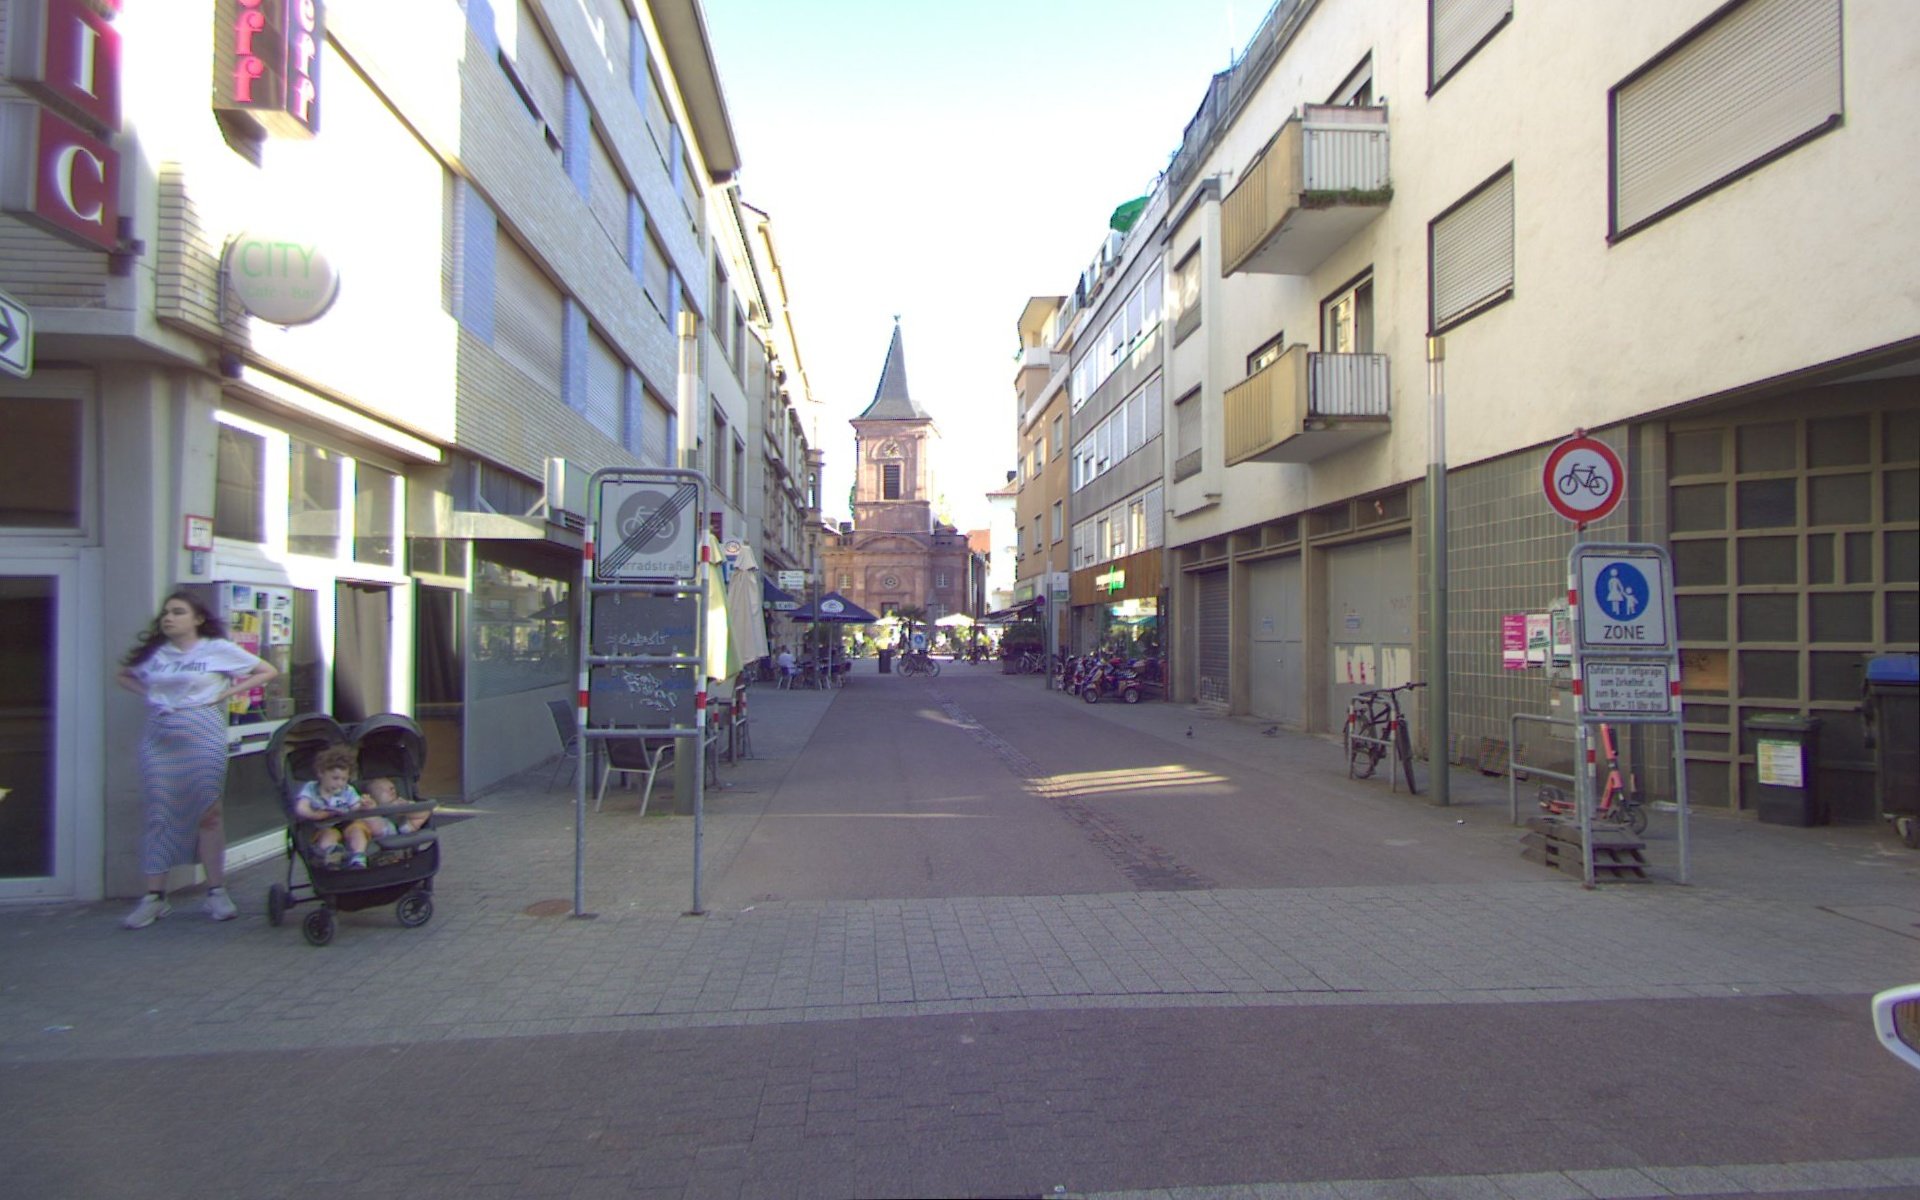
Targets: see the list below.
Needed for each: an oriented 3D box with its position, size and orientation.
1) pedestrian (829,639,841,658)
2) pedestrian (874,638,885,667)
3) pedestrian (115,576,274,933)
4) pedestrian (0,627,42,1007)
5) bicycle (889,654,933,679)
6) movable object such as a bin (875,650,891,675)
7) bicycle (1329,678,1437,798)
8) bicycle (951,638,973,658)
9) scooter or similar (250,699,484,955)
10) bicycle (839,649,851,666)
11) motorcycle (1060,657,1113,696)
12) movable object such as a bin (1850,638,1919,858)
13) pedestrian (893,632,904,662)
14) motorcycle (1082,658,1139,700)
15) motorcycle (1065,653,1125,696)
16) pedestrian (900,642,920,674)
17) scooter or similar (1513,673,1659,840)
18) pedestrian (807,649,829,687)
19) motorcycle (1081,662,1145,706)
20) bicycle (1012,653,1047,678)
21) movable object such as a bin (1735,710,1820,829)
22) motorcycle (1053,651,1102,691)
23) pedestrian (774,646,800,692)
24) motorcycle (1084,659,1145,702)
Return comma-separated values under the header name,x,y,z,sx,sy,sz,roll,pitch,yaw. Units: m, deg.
name,x,y,z,sx,sy,sz,roll,pitch,yaw
pedestrian,-8.392,3.237,67.378,0.689,1.234,0.720,0,-2,0
pedestrian,-5.092,3.311,63.606,0.606,1.832,0.614,1,-2,-9
pedestrian,-4.272,0.796,5.610,0.655,1.844,0.564,-1,1,-41
pedestrian,-4.360,0.929,4.297,0.525,1.601,0.509,1,1,33
bicycle,-2.044,2.774,41.717,1.796,1.018,0.381,1,-2,-9
movable object such as a bin,-3.417,2.751,44.539,0.710,1.089,0.374,0,-2,-7
bicycle,4.553,1.448,10.924,0.439,1.154,1.710,1,-3,0
bicycle,0.141,3.242,67.450,1.575,1.325,0.362,2,-2,-35
scooter or similar,-3.266,1.173,5.541,0.938,1.159,0.796,0,-1,37
bicycle,-6.143,3.040,53.641,0.449,0.861,2.146,0,-2,-2
motorcycle,3.610,2.183,28.704,1.458,1.090,0.412,-1,-2,13
movable object such as a bin,7.757,1.114,7.739,1.272,1.610,1.150,-1,-1,39
pedestrian,-3.831,2.932,62.963,0.606,1.832,0.614,1,-2,-9
motorcycle,4.002,2.098,26.662,1.458,1.090,0.412,-1,-2,13
motorcycle,3.755,2.071,27.986,1.597,1.190,0.481,-1,-2,13
pedestrian,-2.296,2.644,45.889,0.870,1.483,0.730,0,-2,-5
scooter or similar,5.281,1.276,8.540,0.302,1.269,1.237,1,-2,-9
pedestrian,-4.790,2.279,33.776,0.682,1.231,0.582,1,-2,-13
motorcycle,3.785,2.070,24.893,1.537,1.055,0.373,-1,-2,13
bicycle,2.881,2.689,41.546,1.439,1.018,0.573,0,-2,2
movable object such as a bin,7.110,1.451,8.752,0.533,0.936,0.511,-2,-2,37
motorcycle,3.586,2.165,30.606,1.458,1.197,0.412,-1,-2,10
pedestrian,-5.279,2.096,30.674,0.699,1.386,0.717,1,-2,-17
motorcycle,3.948,2.054,25.660,1.491,1.090,0.412,-1,-2,13
